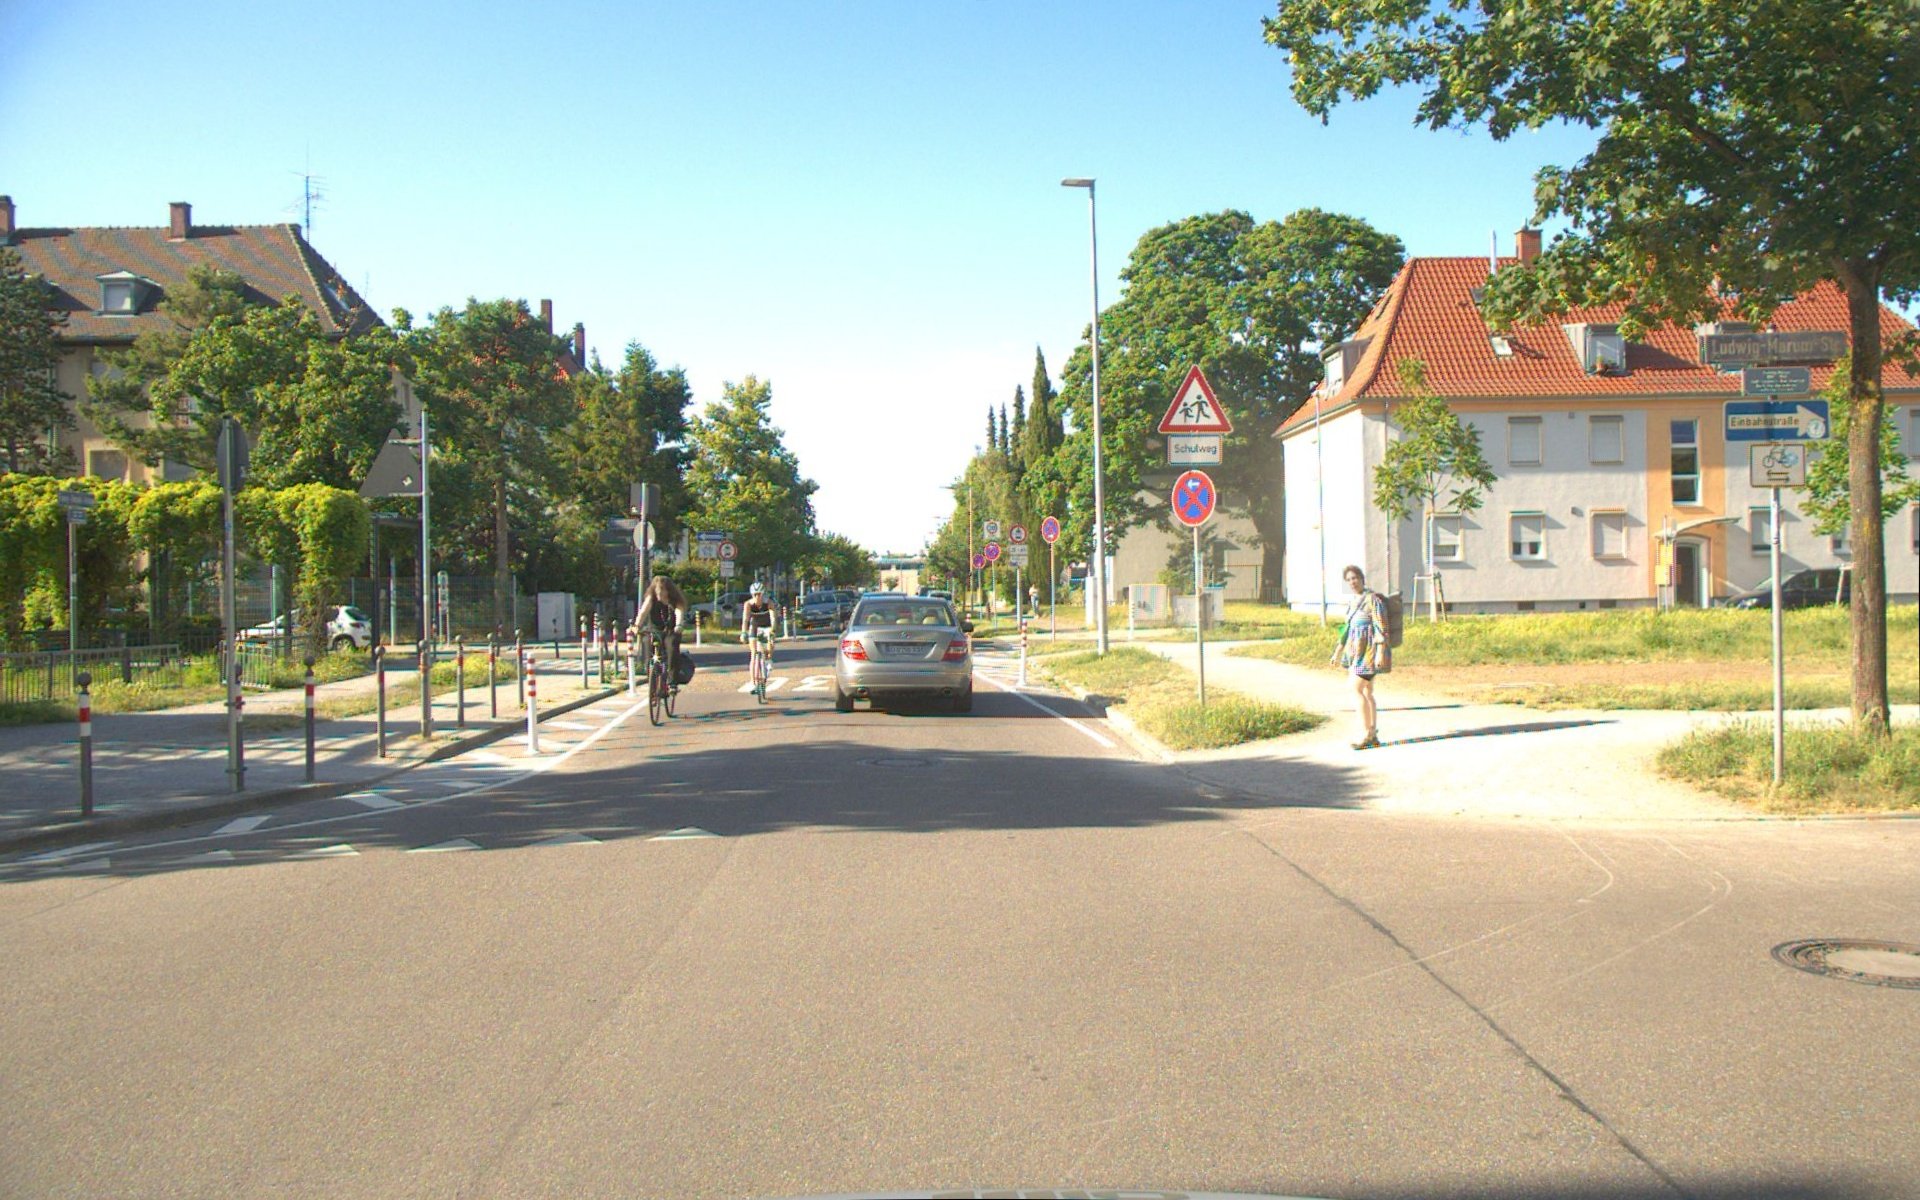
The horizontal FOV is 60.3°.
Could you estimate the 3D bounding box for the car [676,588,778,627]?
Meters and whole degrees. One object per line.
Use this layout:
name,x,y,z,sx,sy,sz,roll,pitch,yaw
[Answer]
car,-9.738,0.308,69.313,4.110,1.591,1.840,-1,0,-5

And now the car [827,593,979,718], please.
car,-0.711,0.655,21.828,1.799,1.466,3.999,-1,0,-1

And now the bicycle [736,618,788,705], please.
bicycle,-2.728,0.827,22.892,0.495,1.108,1.709,-1,0,-1

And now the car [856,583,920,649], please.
car,-1.956,0.387,44.085,1.566,1.638,3.641,-2,1,-4

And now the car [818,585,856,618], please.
car,-6.841,0.074,92.512,1.955,1.637,3.997,-5,1,-4

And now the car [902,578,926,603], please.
car,-3.731,-0.778,133.072,1.818,1.873,3.998,-2,1,-3

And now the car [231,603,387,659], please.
car,-18.334,0.863,46.694,3.688,1.423,1.706,-2,-1,-2

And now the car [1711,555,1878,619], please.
car,24.141,-0.382,47.941,3.969,1.693,1.721,-2,1,-2

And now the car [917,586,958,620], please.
car,-1.061,0.129,77.172,1.699,1.505,3.722,-2,1,-4

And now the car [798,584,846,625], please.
car,-6.209,0.199,74.720,1.955,1.637,3.997,-5,1,-4

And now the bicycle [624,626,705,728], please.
bicycle,-3.614,0.912,20.369,0.629,1.128,2.065,-1,0,-1

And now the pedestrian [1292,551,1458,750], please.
pedestrian,3.904,0.457,15.609,1.071,1.702,0.909,-6,2,-19

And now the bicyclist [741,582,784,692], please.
bicyclist,-2.735,0.507,22.928,0.486,1.489,0.687,-1,0,-1

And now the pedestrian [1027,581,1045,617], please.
pedestrian,3.531,-0.042,76.805,0.750,1.639,0.834,-1,0,3

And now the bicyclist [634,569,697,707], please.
bicyclist,-3.624,0.458,20.390,0.629,1.648,0.637,-1,0,-1
